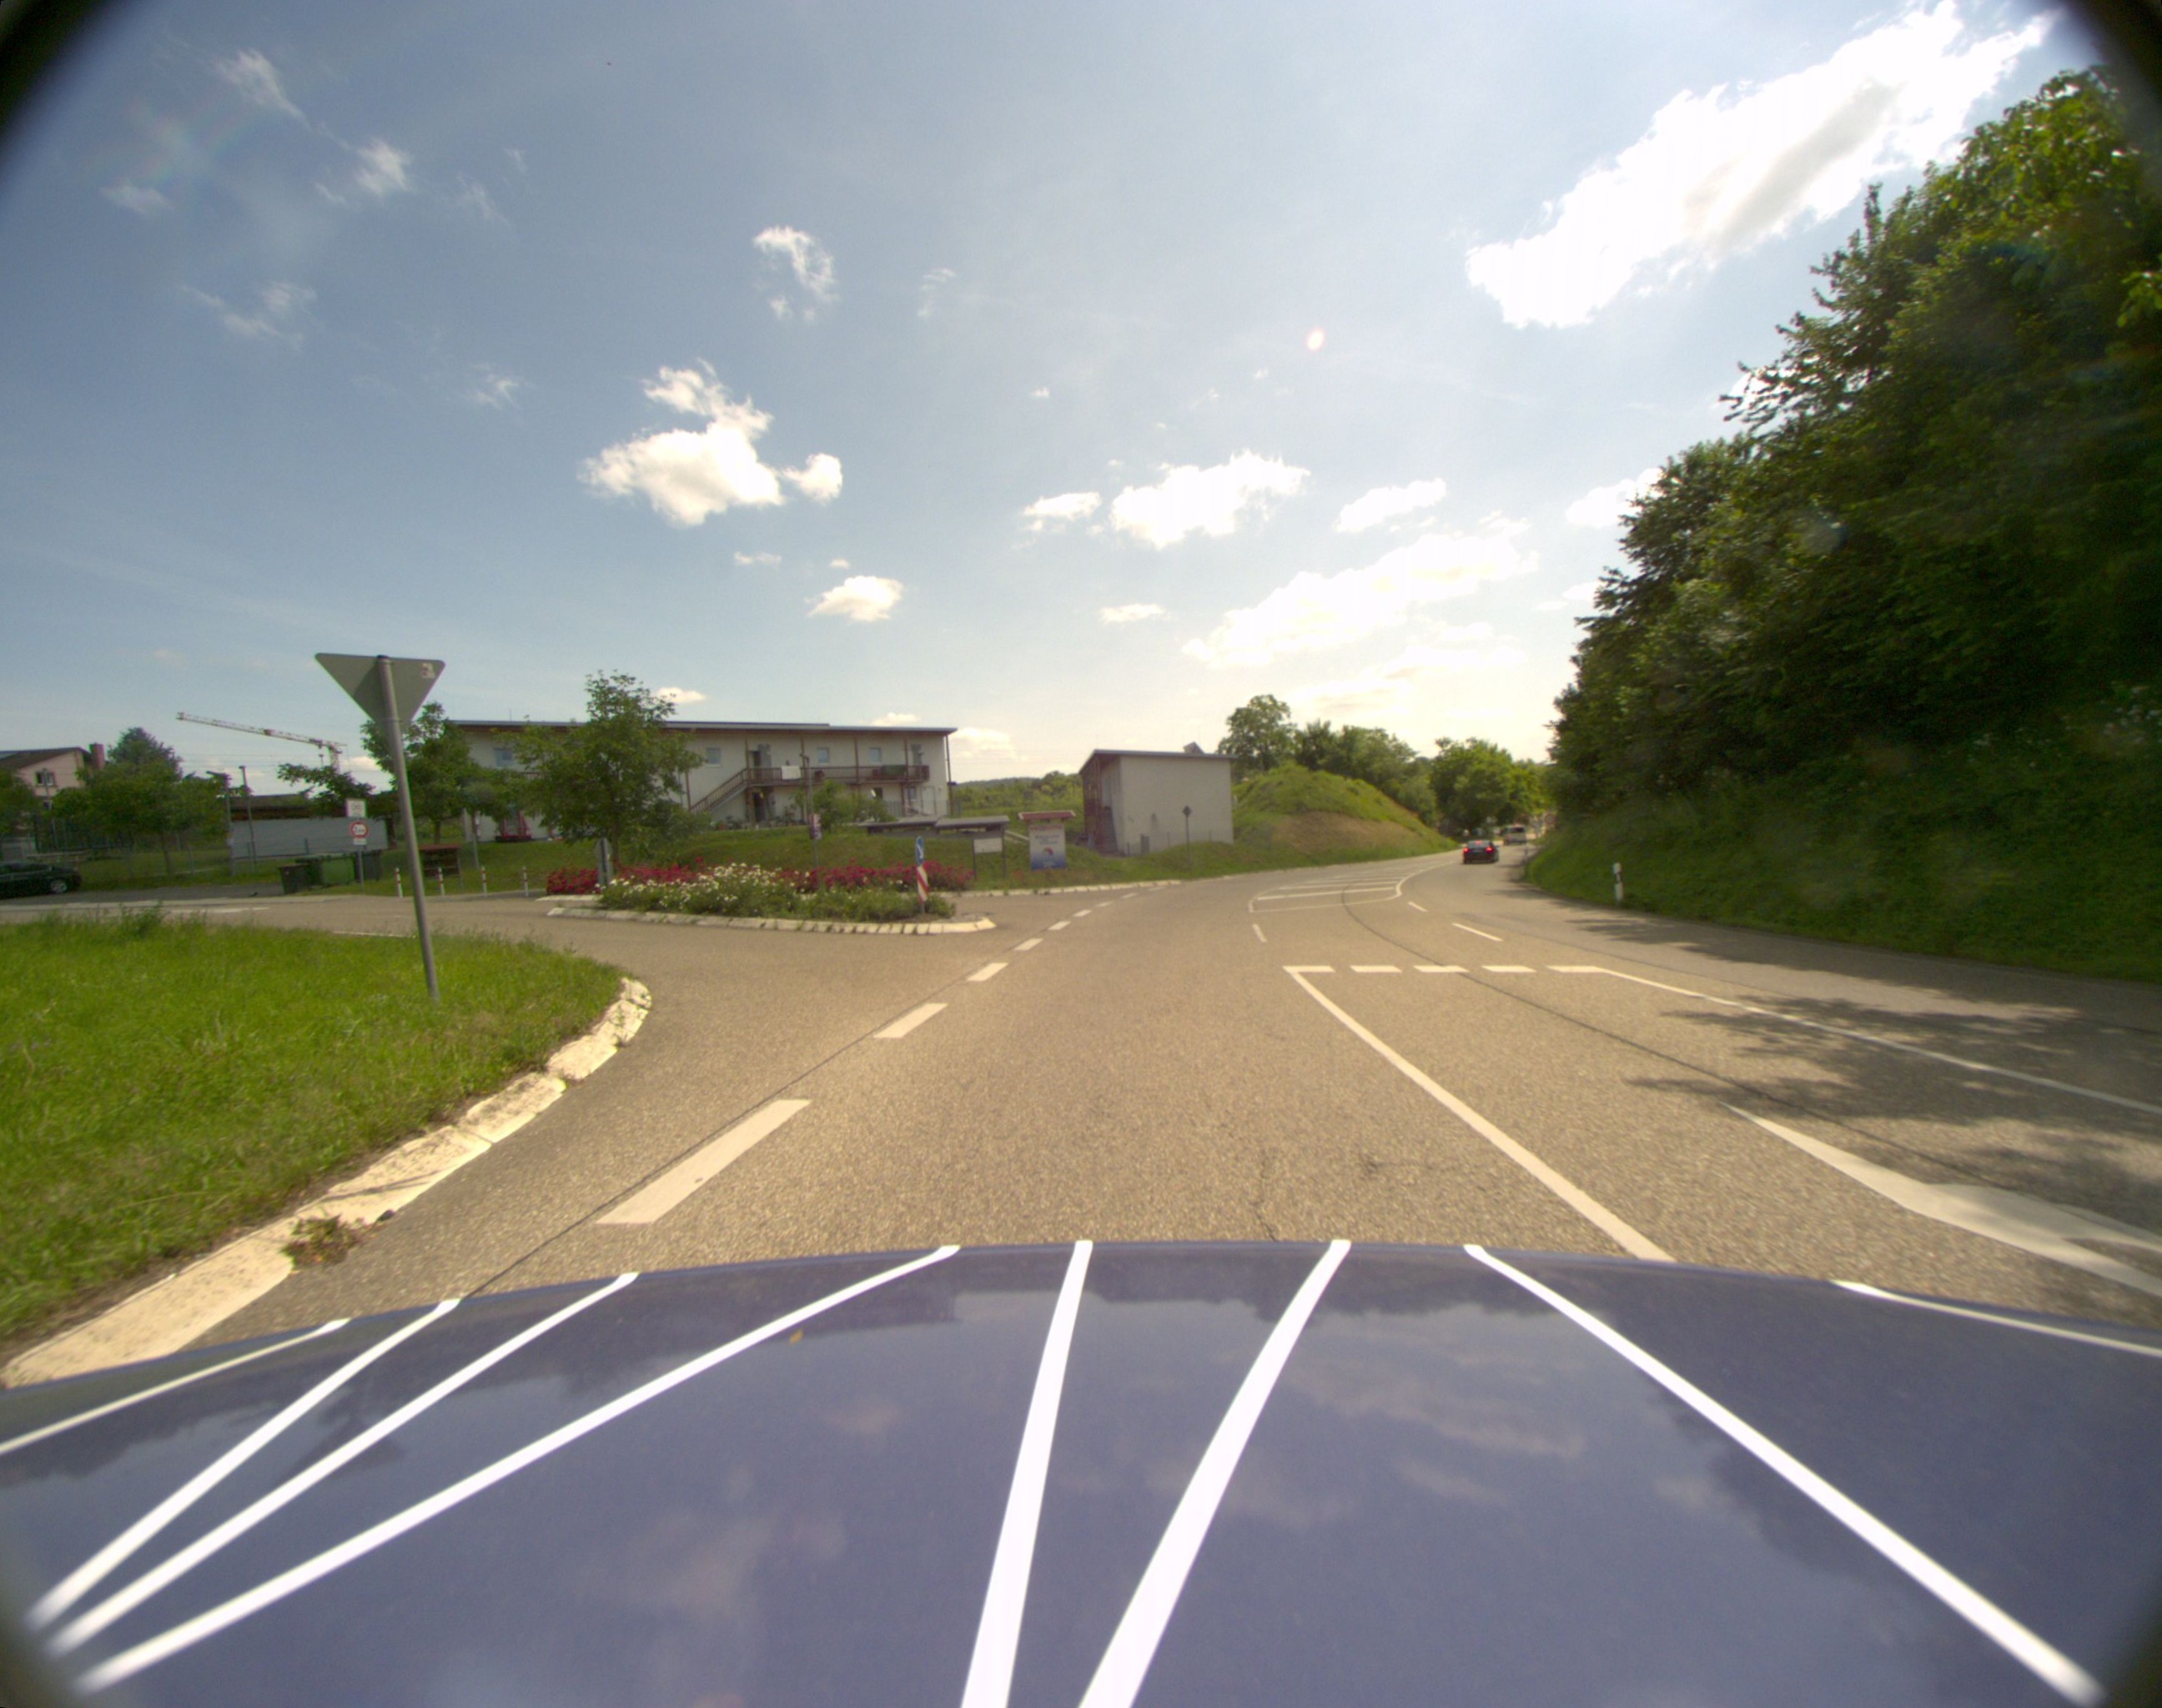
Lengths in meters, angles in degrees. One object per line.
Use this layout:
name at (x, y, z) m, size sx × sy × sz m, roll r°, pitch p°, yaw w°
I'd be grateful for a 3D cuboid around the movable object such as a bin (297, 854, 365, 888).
movable object such as a bin at (-27.539, 0.622, 27.916) m, size 0.967 × 1.097 × 1.367 m, roll -6°, pitch 1°, yaw 9°

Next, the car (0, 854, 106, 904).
car at (-41.774, 1.000, 29.203) m, size 1.999 × 1.759 × 5.059 m, roll -6°, pitch 1°, yaw -3°

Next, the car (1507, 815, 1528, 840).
car at (52.426, -3.205, 91.311) m, size 2.087 × 2.279 × 5.951 m, roll -1°, pitch 7°, yaw 30°

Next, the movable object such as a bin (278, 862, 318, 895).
movable object such as a bin at (-27.712, 0.846, 26.903) m, size 0.625 × 1.074 × 0.627 m, roll -6°, pitch 1°, yaw 9°

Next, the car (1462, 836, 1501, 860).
car at (25.272, -0.398, 47.870) m, size 1.685 × 1.412 × 4.352 m, roll 0°, pitch 2°, yaw 34°

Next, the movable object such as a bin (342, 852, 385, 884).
movable object such as a bin at (-27.452, 0.546, 29.067) m, size 0.759 × 1.111 × 0.793 m, roll -6°, pitch 1°, yaw 9°
